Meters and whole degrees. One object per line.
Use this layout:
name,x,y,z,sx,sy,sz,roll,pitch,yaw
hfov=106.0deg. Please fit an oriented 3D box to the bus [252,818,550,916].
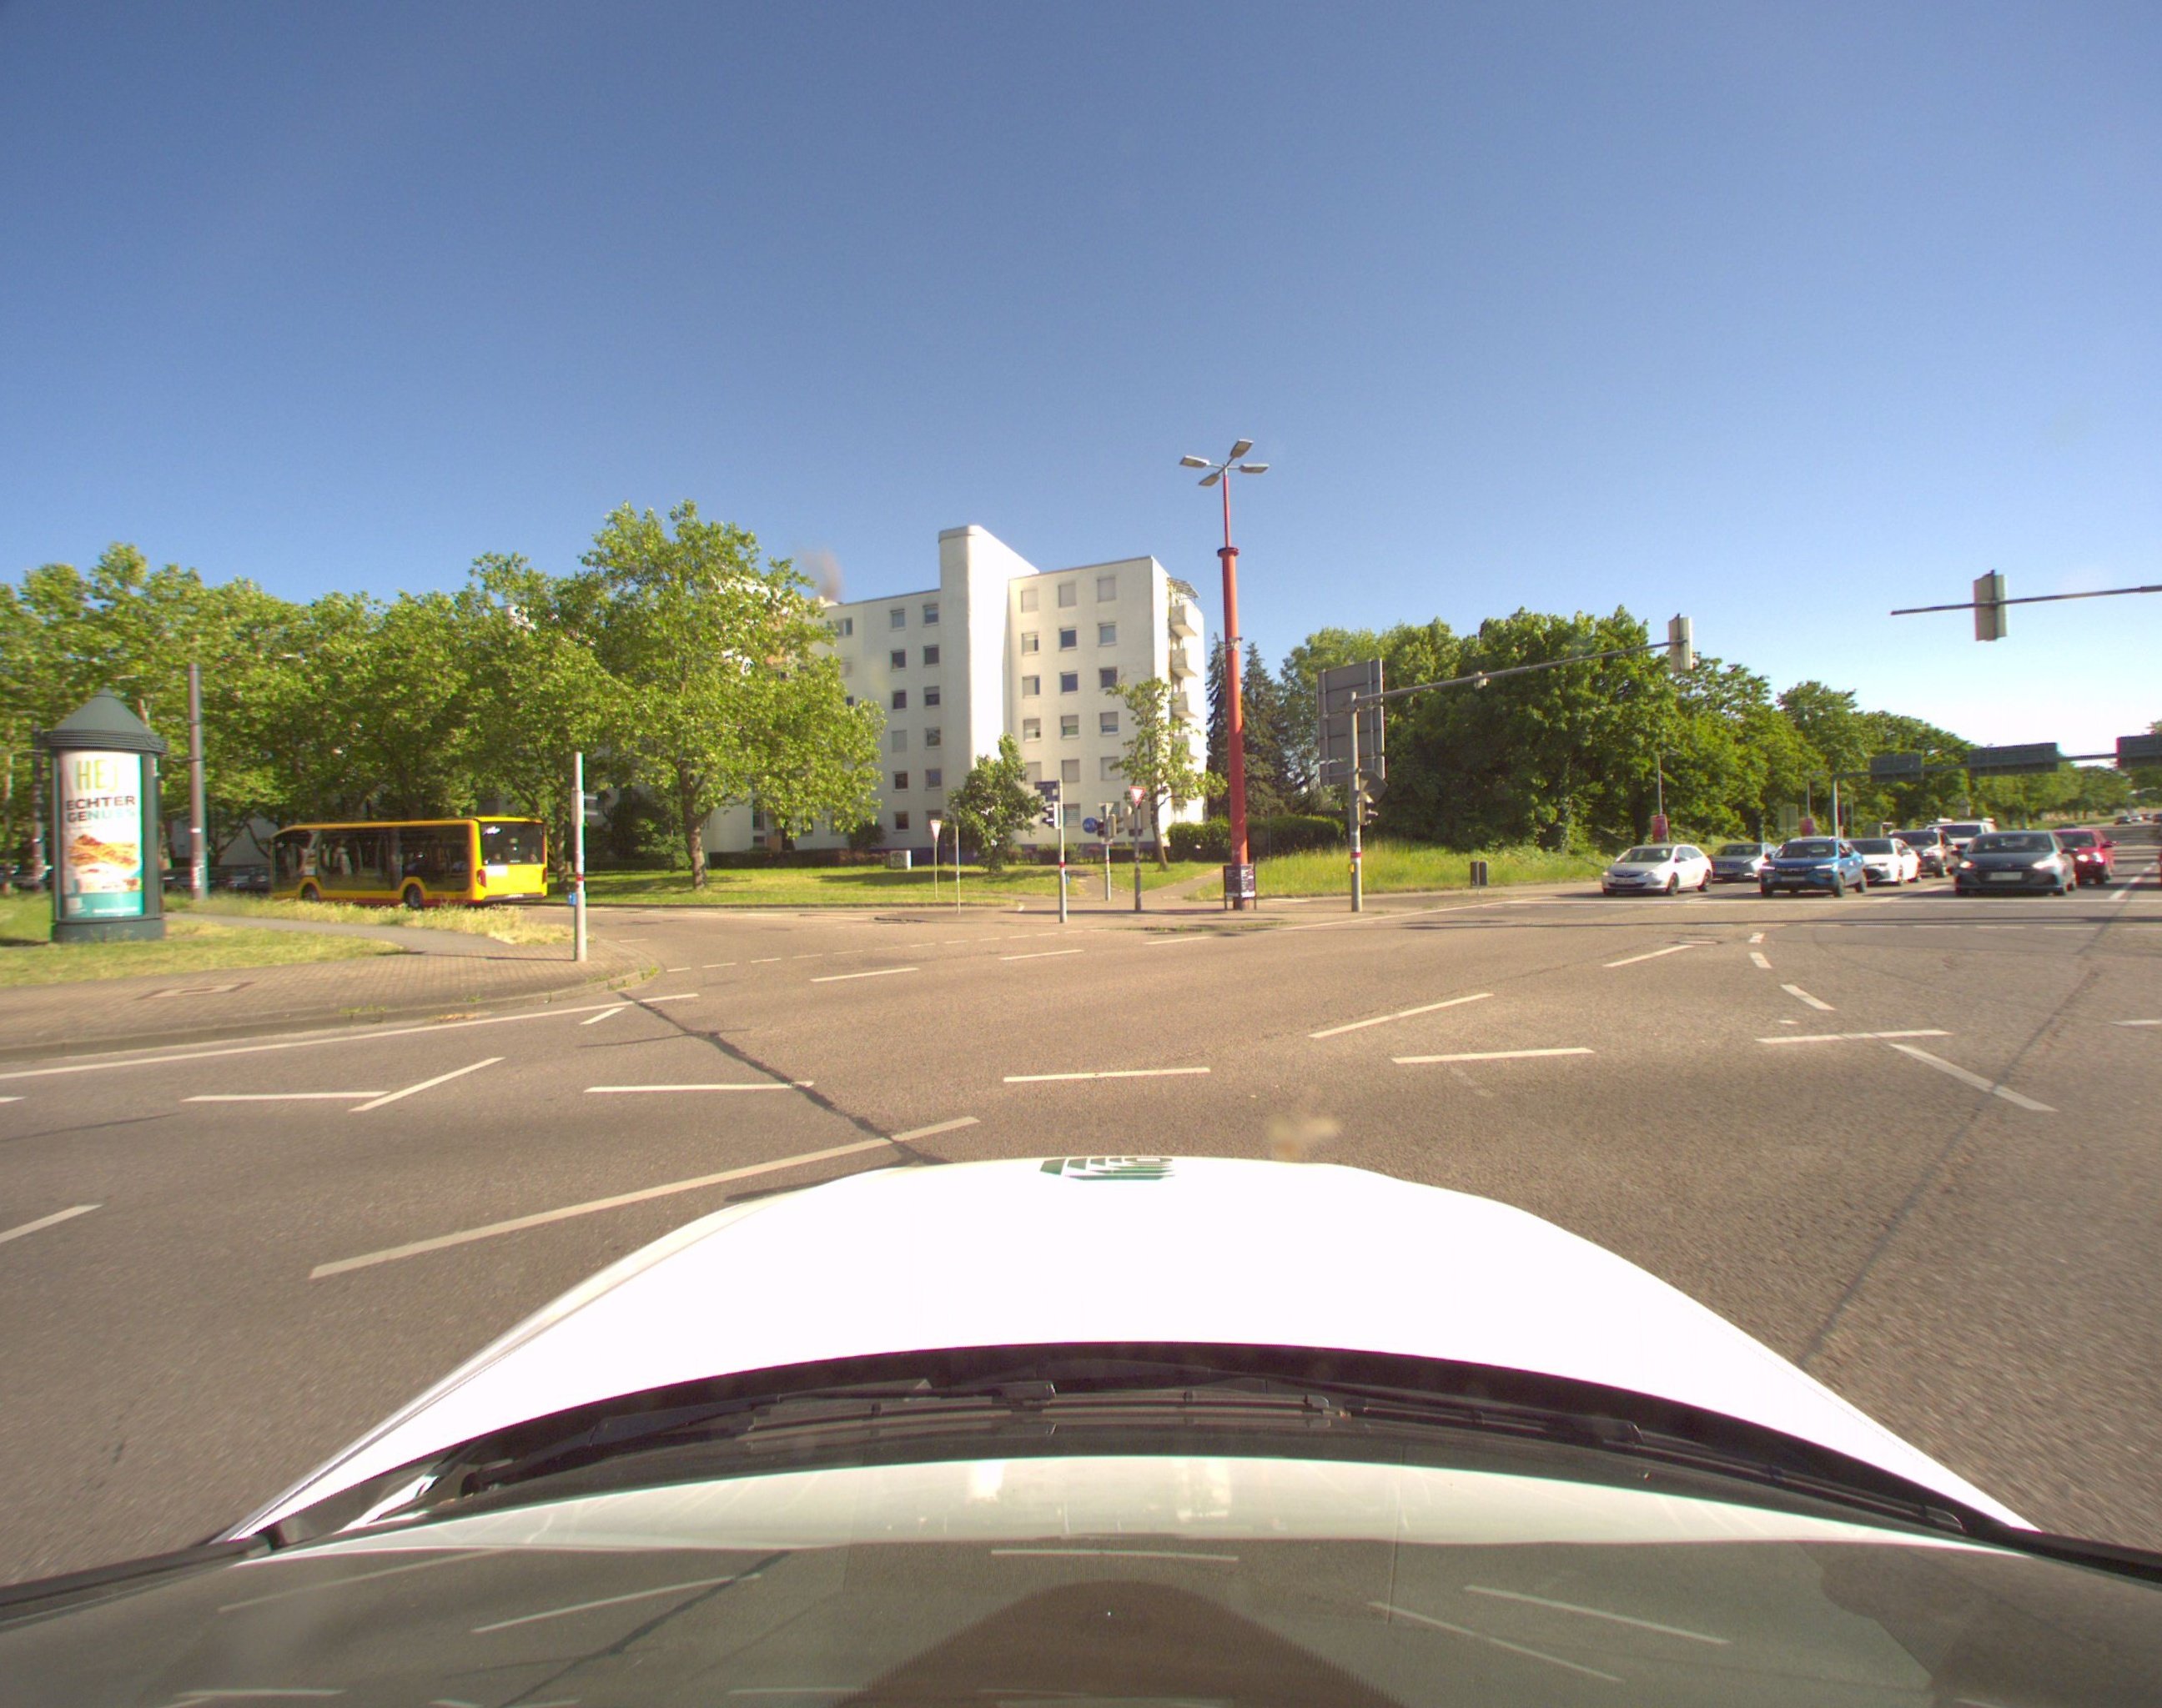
bus,-25.573,0.390,30.441,12.390,3.261,2.668,0,1,20

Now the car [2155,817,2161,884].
car,27.402,-0.115,19.573,4.163,1.626,1.779,-2,-1,-38

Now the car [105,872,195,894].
car,-62.396,1.953,54.639,3.728,1.331,1.490,0,1,-15

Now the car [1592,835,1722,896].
car,17.140,0.309,24.187,4.237,1.652,1.862,-1,-1,-36

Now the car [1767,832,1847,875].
car,30.052,0.000,33.679,3.993,1.652,1.763,0,-3,-39

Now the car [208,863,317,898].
car,-45.812,1.438,45.666,3.942,1.817,1.644,-1,1,-21

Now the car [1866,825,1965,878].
car,29.723,-0.106,28.980,4.017,1.784,1.860,-2,0,-36

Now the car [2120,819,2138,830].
car,189.883,-5.290,147.545,3.979,1.881,1.900,-2,0,-37

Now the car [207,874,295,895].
car,-48.221,1.761,47.380,3.337,1.134,1.316,-1,1,-18

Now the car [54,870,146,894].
car,-67.053,1.920,55.745,3.655,1.460,1.601,-1,1,-26

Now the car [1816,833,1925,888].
car,24.429,0.173,25.177,4.020,1.555,1.885,-1,-1,-39

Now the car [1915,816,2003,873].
car,35.590,-0.393,32.966,5.105,2.155,1.946,-1,0,-38

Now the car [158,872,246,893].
car,-53.695,1.737,49.799,3.405,1.147,1.299,-1,1,-20

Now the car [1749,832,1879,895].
car,19.428,0.234,21.549,3.876,1.516,1.787,-1,-1,-37

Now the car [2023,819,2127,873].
car,32.518,-0.264,26.620,4.017,1.630,1.887,-1,0,-36

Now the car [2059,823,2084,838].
car,129.697,-3.086,106.628,3.979,1.846,1.900,-2,0,-37

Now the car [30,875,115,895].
car,-70.657,2.161,57.137,3.429,1.188,1.433,-1,1,-30

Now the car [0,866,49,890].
car,-92.307,2.075,69.772,4.350,1.983,1.924,-2,0,-26

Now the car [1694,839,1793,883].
car,24.524,0.249,30.114,4.018,1.513,1.870,-1,-1,-36

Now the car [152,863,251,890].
car,-55.606,1.408,51.551,3.935,1.592,1.650,0,1,-15

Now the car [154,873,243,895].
car,-51.867,1.759,47.931,3.275,1.157,1.352,-1,1,-19

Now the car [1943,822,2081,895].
car,22.360,0.077,19.522,4.046,1.550,1.859,-2,-1,-37

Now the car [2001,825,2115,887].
car,27.664,0.053,23.057,4.020,1.552,1.859,-1,-3,-39
